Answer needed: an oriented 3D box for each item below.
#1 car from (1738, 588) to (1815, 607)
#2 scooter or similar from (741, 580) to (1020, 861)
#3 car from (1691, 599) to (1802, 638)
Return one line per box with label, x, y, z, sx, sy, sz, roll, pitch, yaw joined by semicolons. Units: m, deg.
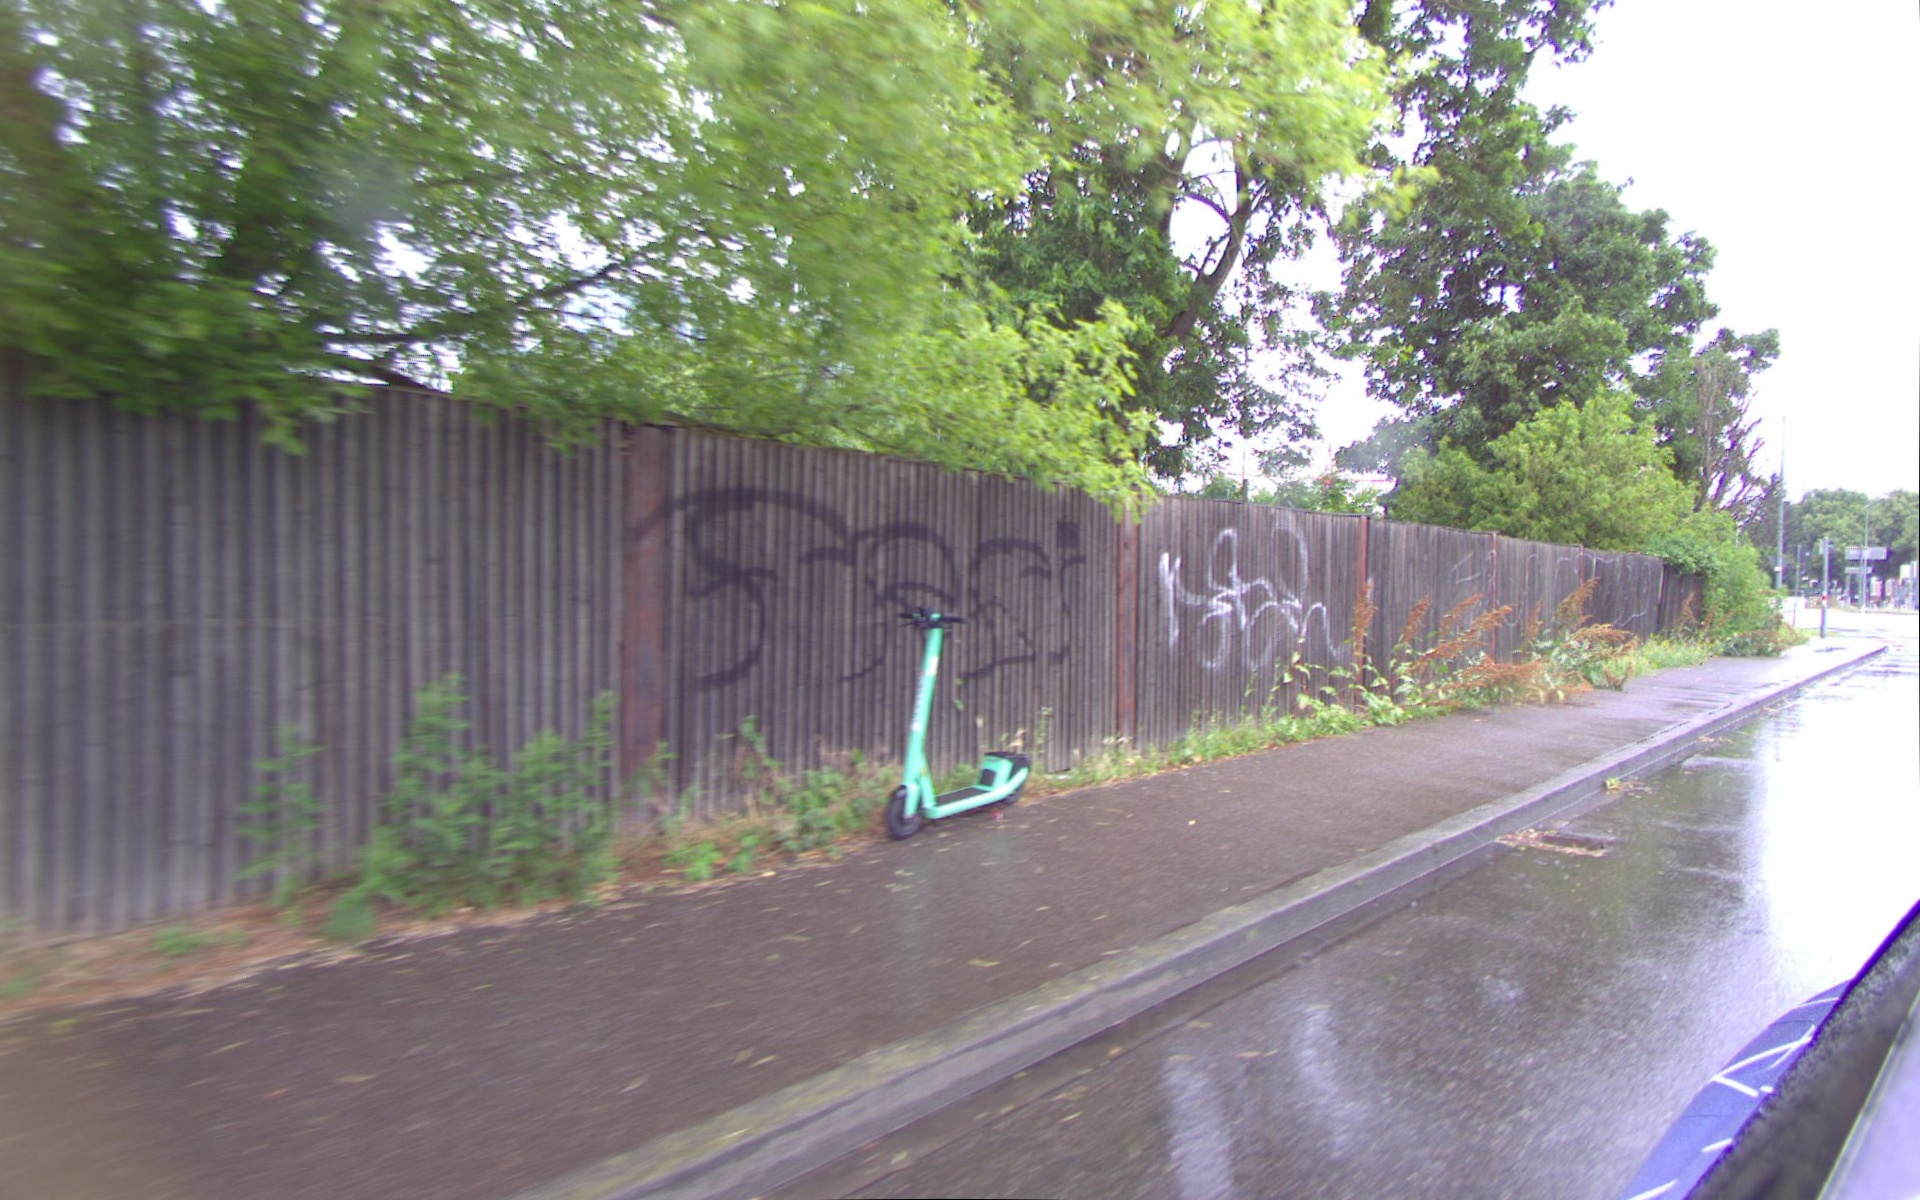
car;65.680;-0.209;81.439;4.492;1.510;1.602;0;3;20
scooter or similar;-0.370;0.567;5.171;1.346;1.250;0.492;4;-1;-42
car;41.244;0.928;53.210;1.878;1.767;4.393;-1;3;-12
